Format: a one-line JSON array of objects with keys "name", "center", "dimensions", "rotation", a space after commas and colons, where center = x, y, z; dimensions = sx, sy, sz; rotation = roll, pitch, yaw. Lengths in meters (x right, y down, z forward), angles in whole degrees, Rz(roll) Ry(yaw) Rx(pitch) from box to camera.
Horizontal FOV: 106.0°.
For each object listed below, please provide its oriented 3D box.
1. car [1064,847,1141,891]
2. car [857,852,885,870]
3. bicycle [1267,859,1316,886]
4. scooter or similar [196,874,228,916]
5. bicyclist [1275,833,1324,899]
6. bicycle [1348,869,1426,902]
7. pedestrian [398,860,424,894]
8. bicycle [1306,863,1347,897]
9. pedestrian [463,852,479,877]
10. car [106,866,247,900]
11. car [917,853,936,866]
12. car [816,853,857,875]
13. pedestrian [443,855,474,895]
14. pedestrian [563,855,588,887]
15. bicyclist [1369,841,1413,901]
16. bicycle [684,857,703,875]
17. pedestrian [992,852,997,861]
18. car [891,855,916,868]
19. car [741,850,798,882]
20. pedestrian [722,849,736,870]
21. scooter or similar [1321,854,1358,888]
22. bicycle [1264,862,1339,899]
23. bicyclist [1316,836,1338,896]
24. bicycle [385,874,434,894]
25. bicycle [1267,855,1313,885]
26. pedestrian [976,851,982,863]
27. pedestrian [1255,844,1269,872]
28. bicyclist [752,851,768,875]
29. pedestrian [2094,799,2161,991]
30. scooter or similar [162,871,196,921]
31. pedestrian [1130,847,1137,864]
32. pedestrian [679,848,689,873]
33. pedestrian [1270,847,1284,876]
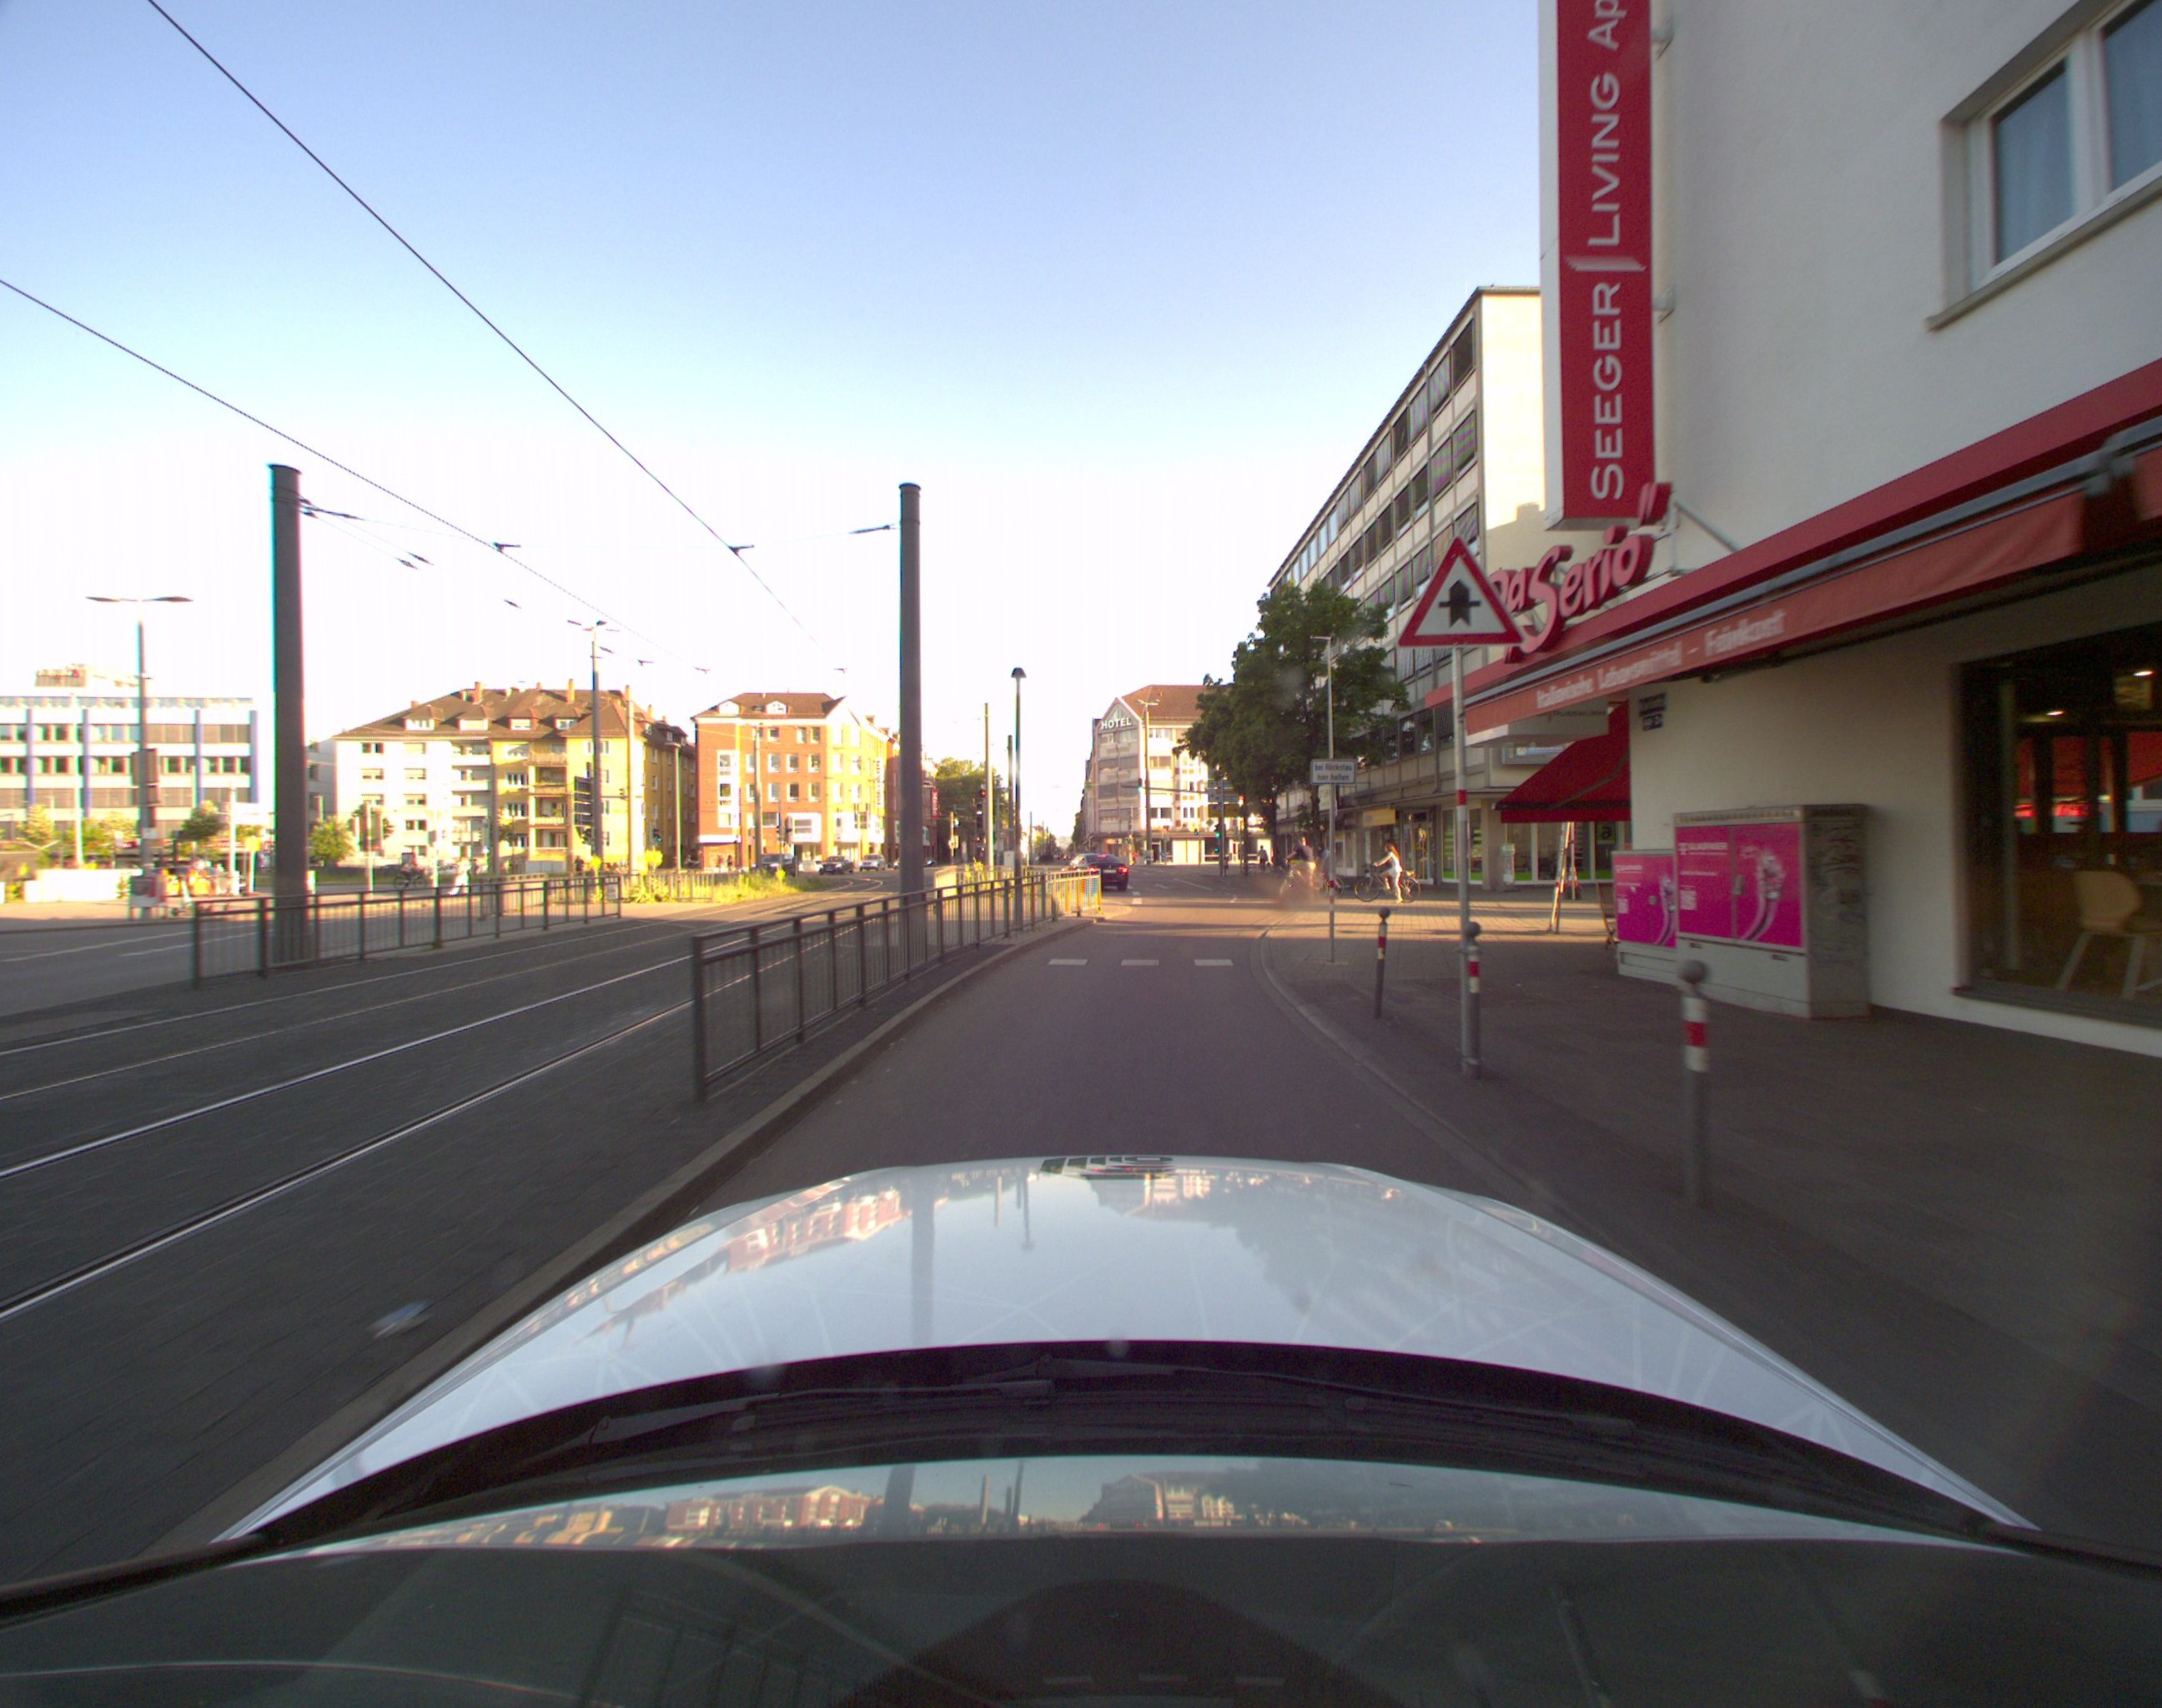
[{"name": "car", "center": [0.774, 0.567, 32.345], "dimensions": [1.997, 1.585, 3.979], "rotation": [-1, 0, -15]}, {"name": "car", "center": [-19.751, 0.661, 76.881], "dimensions": [1.992, 1.585, 4.103], "rotation": [-1, 0, -7]}, {"name": "bicycle", "center": [8.945, 0.799, 34.678], "dimensions": [1.983, 1.110, 0.670], "rotation": [-1, 0, 12]}, {"name": "scooter or similar", "center": [-26.792, 1.249, 25.105], "dimensions": [1.240, 1.272, 0.521], "rotation": [-1, 0, 37]}, {"name": "bicyclist", "center": [6.502, 0.340, 24.280], "dimensions": [0.844, 1.917, 1.102], "rotation": [-1, 0, -38]}, {"name": "bicycle", "center": [8.587, 0.861, 22.849], "dimensions": [1.988, 0.881, 0.845], "rotation": [-1, 0, 22]}, {"name": "pedestrian", "center": [-38.649, 1.293, 46.984], "dimensions": [0.844, 1.910, 0.891], "rotation": [-1, 0, -12]}, {"name": "bicycle", "center": [7.656, 0.792, 25.465], "dimensions": [0.464, 0.970, 1.795], "rotation": [-1, 0, -9]}, {"name": "pedestrian", "center": [-46.114, 0.760, 61.591], "dimensions": [0.721, 1.868, 0.879], "rotation": [-1, 0, -21]}, {"name": "car", "center": [-48.171, 1.514, 43.503], "dimensions": [4.571, 1.618, 1.984], "rotation": [-1, 0, -24]}, {"name": "car", "center": [-21.019, 0.748, 110.960], "dimensions": [1.989, 1.585, 4.474], "rotation": [-1, 0, -3]}, {"name": "car", "center": [-18.870, 0.759, 63.135], "dimensions": [1.989, 1.585, 4.581], "rotation": [-1, 0, -3]}, {"name": "pedestrian", "center": [-29.566, 0.977, 38.681], "dimensions": [0.886, 1.868, 0.969], "rotation": [-1, 0, -22]}, {"name": "pedestrian", "center": [-31.775, 1.056, 51.171], "dimensions": [1.100, 1.944, 1.018], "rotation": [-1, 0, -20]}, {"name": "bicyclist", "center": [8.686, 0.472, 22.807], "dimensions": [1.101, 1.622, 0.845], "rotation": [-1, 0, 23]}, {"name": "bicycle", "center": [-29.548, 0.890, 62.101], "dimensions": [0.617, 1.325, 2.012], "rotation": [1, 0, -5]}, {"name": "pedestrian", "center": [-16.370, 0.419, 153.735], "dimensions": [0.721, 1.681, 0.991], "rotation": [-1, 0, 1]}, {"name": "car", "center": [-20.756, 0.837, 95.486], "dimensions": [1.661, 1.448, 4.207], "rotation": [-1, 0, 5]}, {"name": "car", "center": [-19.604, 0.692, 51.515], "dimensions": [1.989, 1.901, 4.806], "rotation": [-1, 0, -3]}, {"name": "pedestrian", "center": [-32.242, 0.513, 74.608], "dimensions": [0.940, 1.868, 0.836], "rotation": [1, 0, -10]}, {"name": "scooter or similar", "center": [9.610, 0.637, 30.259], "dimensions": [1.262, 1.235, 0.340], "rotation": [-1, 0, 41]}, {"name": "bicycle", "center": [6.539, 0.773, 24.251], "dimensions": [0.844, 1.020, 2.054], "rotation": [-1, 0, -38]}, {"name": "bicyclist", "center": [7.668, 0.367, 25.398], "dimensions": [0.464, 1.830, 0.557], "rotation": [-1, 0, -9]}, {"name": "bicycle", "center": [-38.716, 1.742, 46.973], "dimensions": [2.005, 1.060, 0.891], "rotation": [-1, 0, -12]}, {"name": "bicycle", "center": [9.145, 0.698, 35.642], "dimensions": [1.892, 1.235, 0.670], "rotation": [-1, 0, 10]}, {"name": "pedestrian", "center": [-16.113, 0.462, 128.734], "dimensions": [0.985, 2.014, 0.725], "rotation": [1, 0, -3]}, {"name": "pedestrian", "center": [10.696, 0.229, 48.146], "dimensions": [0.682, 1.667, 0.671], "rotation": [-1, 0, 2]}, {"name": "bicyclist", "center": [-22.736, 0.622, 57.671], "dimensions": [0.659, 1.688, 0.981], "rotation": [-1, 0, 6]}, {"name": "pedestrian", "center": [7.106, 0.256, 5.289], "dimensions": [0.522, 1.217, 0.502], "rotation": [-1, 0, -18]}, {"name": "scooter or similar", "center": [-27.226, 1.253, 24.582], "dimensions": [1.240, 1.446, 0.521], "rotation": [-1, 0, 36]}, {"name": "pedestrian", "center": [5.517, 0.155, 85.389], "dimensions": [0.683, 1.854, 0.670], "rotation": [-1, 0, -5]}, {"name": "pedestrian", "center": [-30.094, 0.510, 61.728], "dimensions": [0.501, 1.868, 0.562], "rotation": [1, 0, -6]}, {"name": "pedestrian", "center": [11.646, 0.440, 48.384], "dimensions": [0.720, 1.667, 0.671], "rotation": [-1, 0, 2]}]
